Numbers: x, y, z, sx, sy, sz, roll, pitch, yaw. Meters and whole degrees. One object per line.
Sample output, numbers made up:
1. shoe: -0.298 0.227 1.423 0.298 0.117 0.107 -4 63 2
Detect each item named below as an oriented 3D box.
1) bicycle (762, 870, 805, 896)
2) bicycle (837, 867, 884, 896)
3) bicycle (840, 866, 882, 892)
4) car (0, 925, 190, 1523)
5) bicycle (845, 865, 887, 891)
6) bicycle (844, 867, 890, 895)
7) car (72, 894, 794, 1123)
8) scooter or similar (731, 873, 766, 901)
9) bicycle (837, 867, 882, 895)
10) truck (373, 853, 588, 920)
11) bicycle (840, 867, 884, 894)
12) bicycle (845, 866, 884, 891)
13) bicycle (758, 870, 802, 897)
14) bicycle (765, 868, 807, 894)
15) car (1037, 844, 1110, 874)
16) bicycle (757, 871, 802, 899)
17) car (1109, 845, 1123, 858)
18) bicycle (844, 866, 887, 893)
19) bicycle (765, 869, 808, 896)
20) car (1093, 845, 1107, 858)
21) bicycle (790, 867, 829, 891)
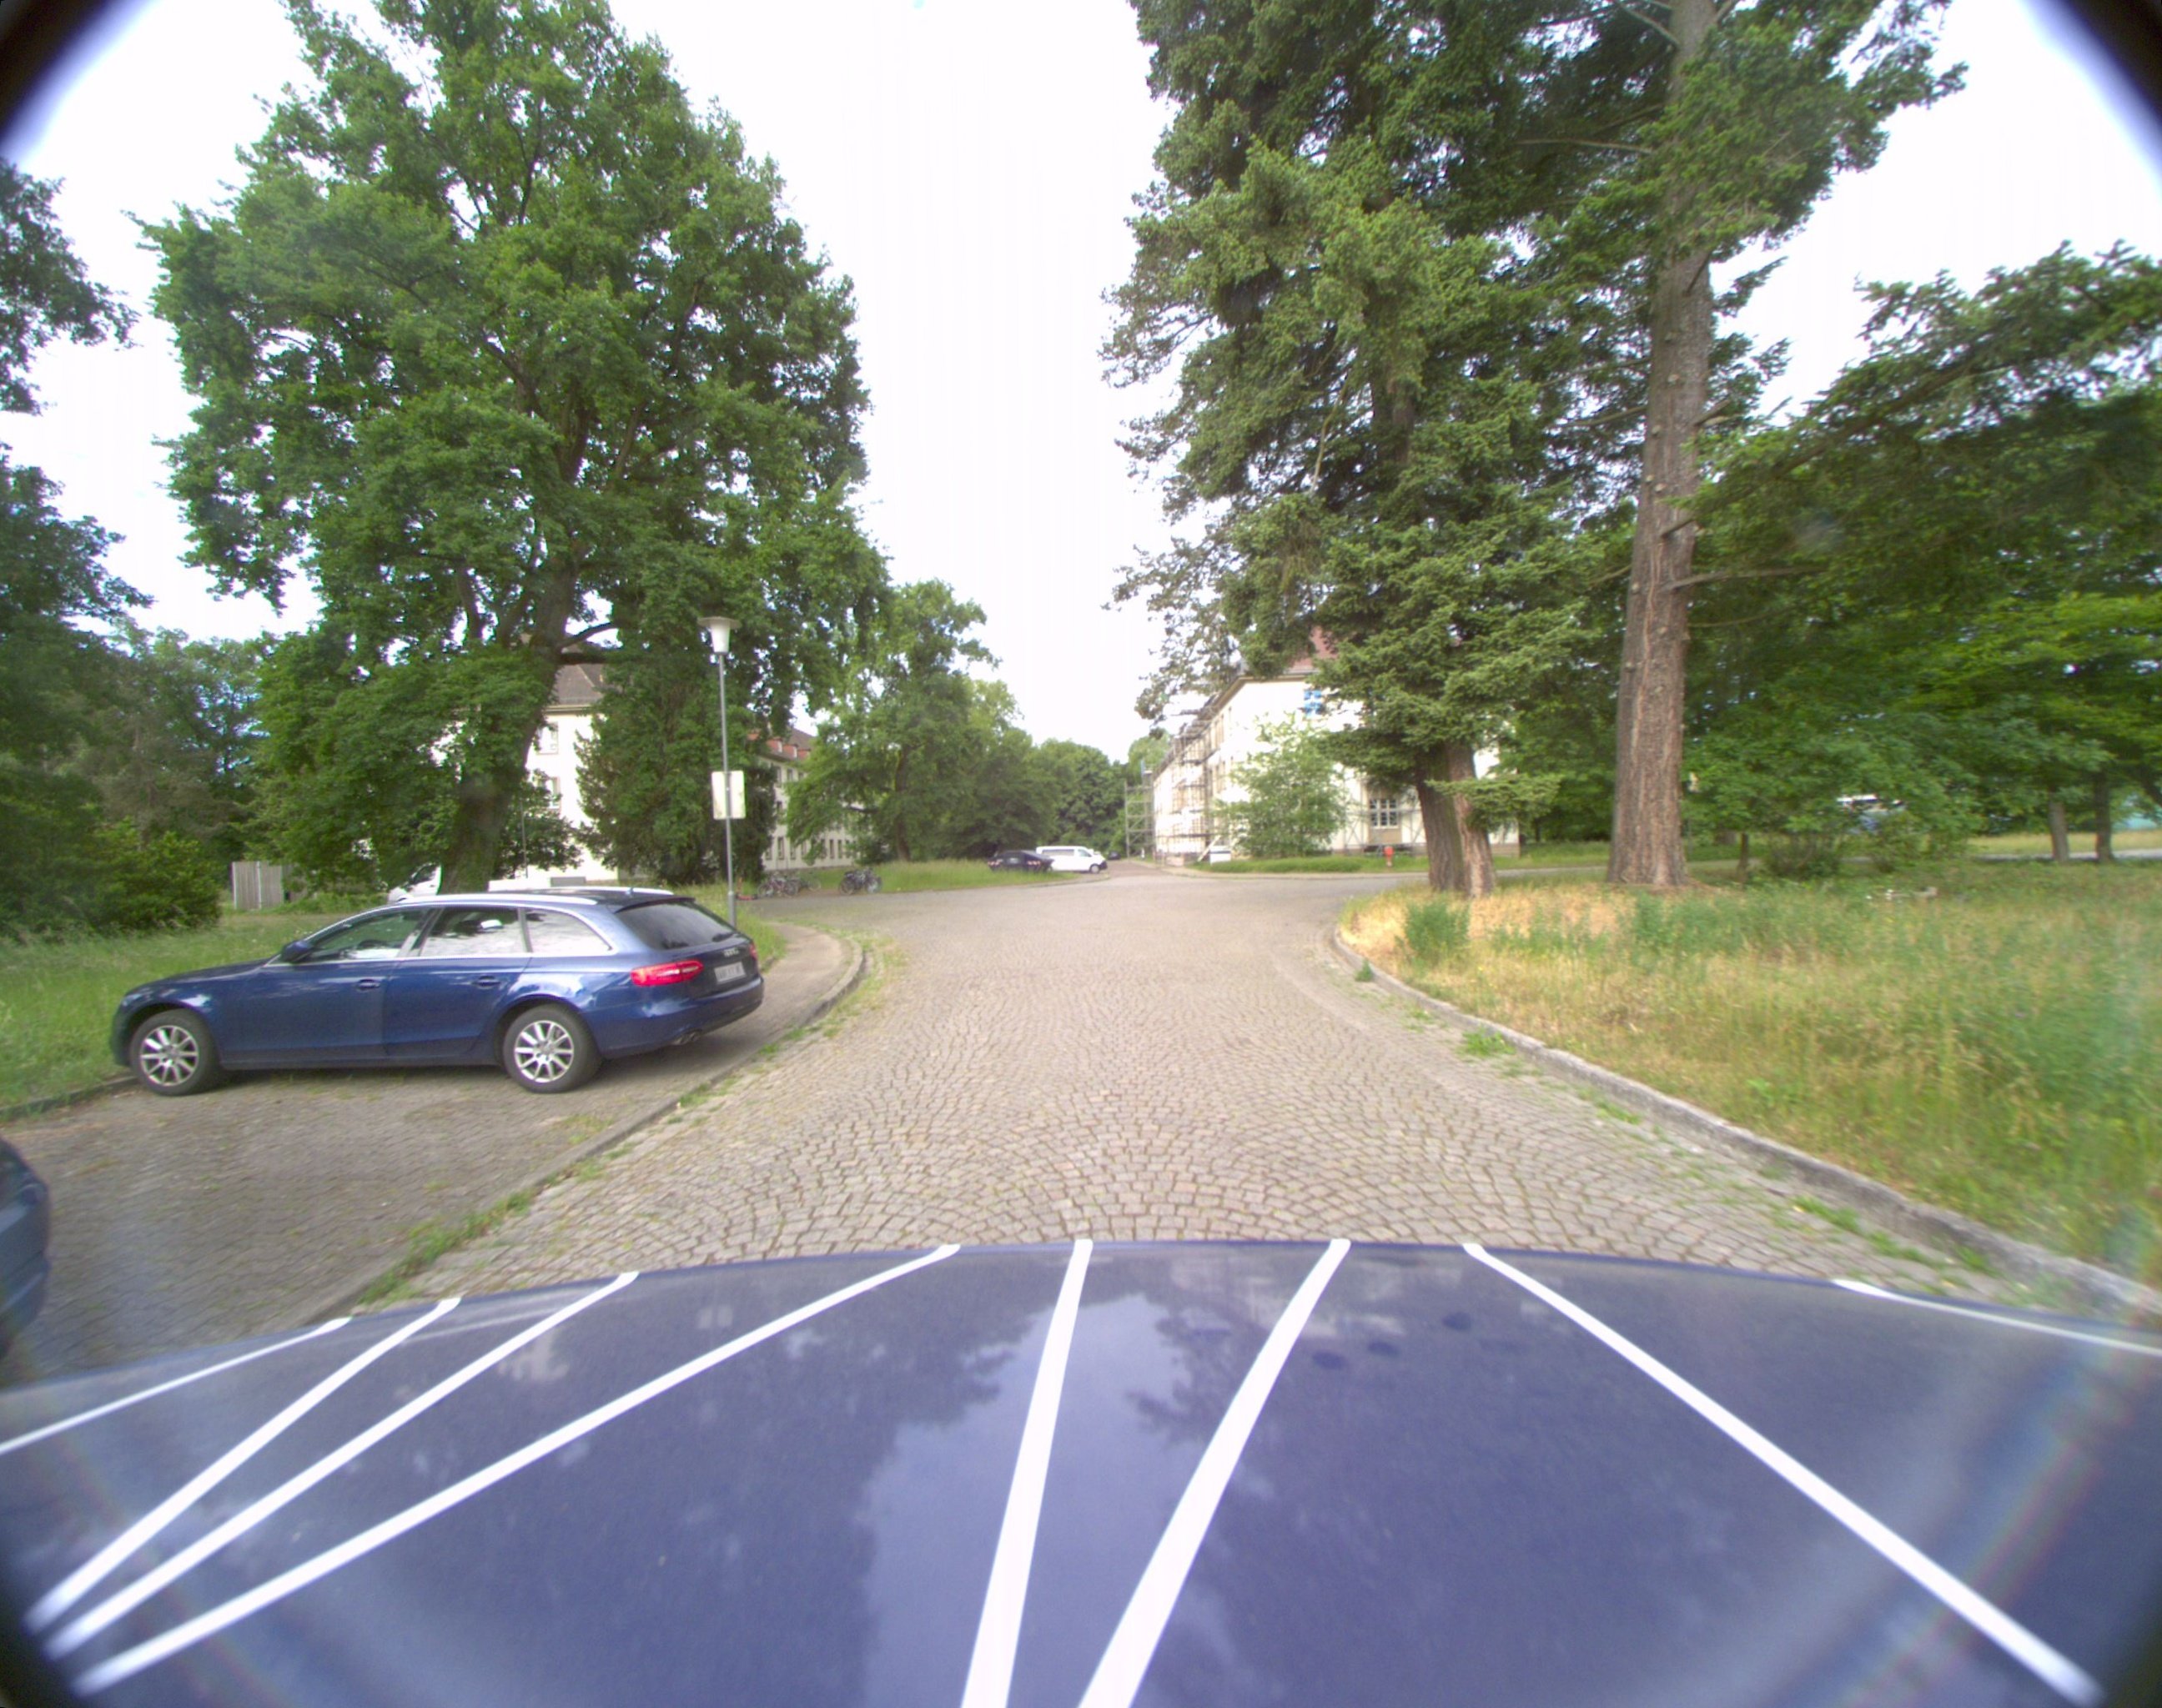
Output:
1. bicycle: -14.248 1.381 36.404 1.861 1.163 0.487 -3 1 -21
2. bicycle: -10.077 1.259 34.730 1.942 1.163 0.487 -4 1 -27
3. bicycle: -11.157 1.278 38.584 1.941 1.163 0.487 -4 1 -21
4. car: -5.128 1.101 1.560 4.256 1.613 1.886 -1 1 -1
5. bicycle: -11.084 1.220 39.195 1.941 1.163 0.487 -4 1 -21
6. bicycle: -9.958 1.242 35.406 1.942 1.163 0.487 -4 1 -27
7. car: -4.959 1.153 6.300 4.367 1.431 1.927 -1 1 3
8. scooter or similar: -15.031 1.483 34.353 1.308 1.163 0.413 -4 1 0
9. bicycle: -10.576 1.270 36.330 1.941 1.163 0.487 -4 1 -24
10. truck: -24.203 1.277 30.785 7.082 2.352 1.993 -2 0 1
11. bicycle: -10.631 1.265 36.945 1.941 1.163 0.487 -4 1 -24
12. bicycle: -11.507 1.277 40.439 1.940 1.163 0.537 -4 1 -15
13. bicycle: -14.130 1.383 35.691 1.861 1.163 0.487 -3 1 -25
14. bicycle: -14.958 1.360 38.569 1.862 1.163 0.487 -3 1 -28
15. car: -0.534 0.327 55.053 5.149 2.002 2.000 -2 1 0
16. bicycle: -13.934 1.402 35.122 1.861 1.163 0.487 -3 1 -25
17. car: 5.566 -0.482 121.407 1.962 2.002 4.260 -2 1 -1
18. bicycle: -10.720 1.261 37.725 1.941 1.163 0.487 -4 1 -21
19. bicycle: -14.385 1.380 37.172 1.862 1.163 0.487 -3 1 -28
20. car: 3.029 -0.378 121.190 1.962 2.002 4.260 -2 1 -1
21. bicycle: -14.167 1.296 39.691 1.859 1.163 0.488 -1 1 -9
